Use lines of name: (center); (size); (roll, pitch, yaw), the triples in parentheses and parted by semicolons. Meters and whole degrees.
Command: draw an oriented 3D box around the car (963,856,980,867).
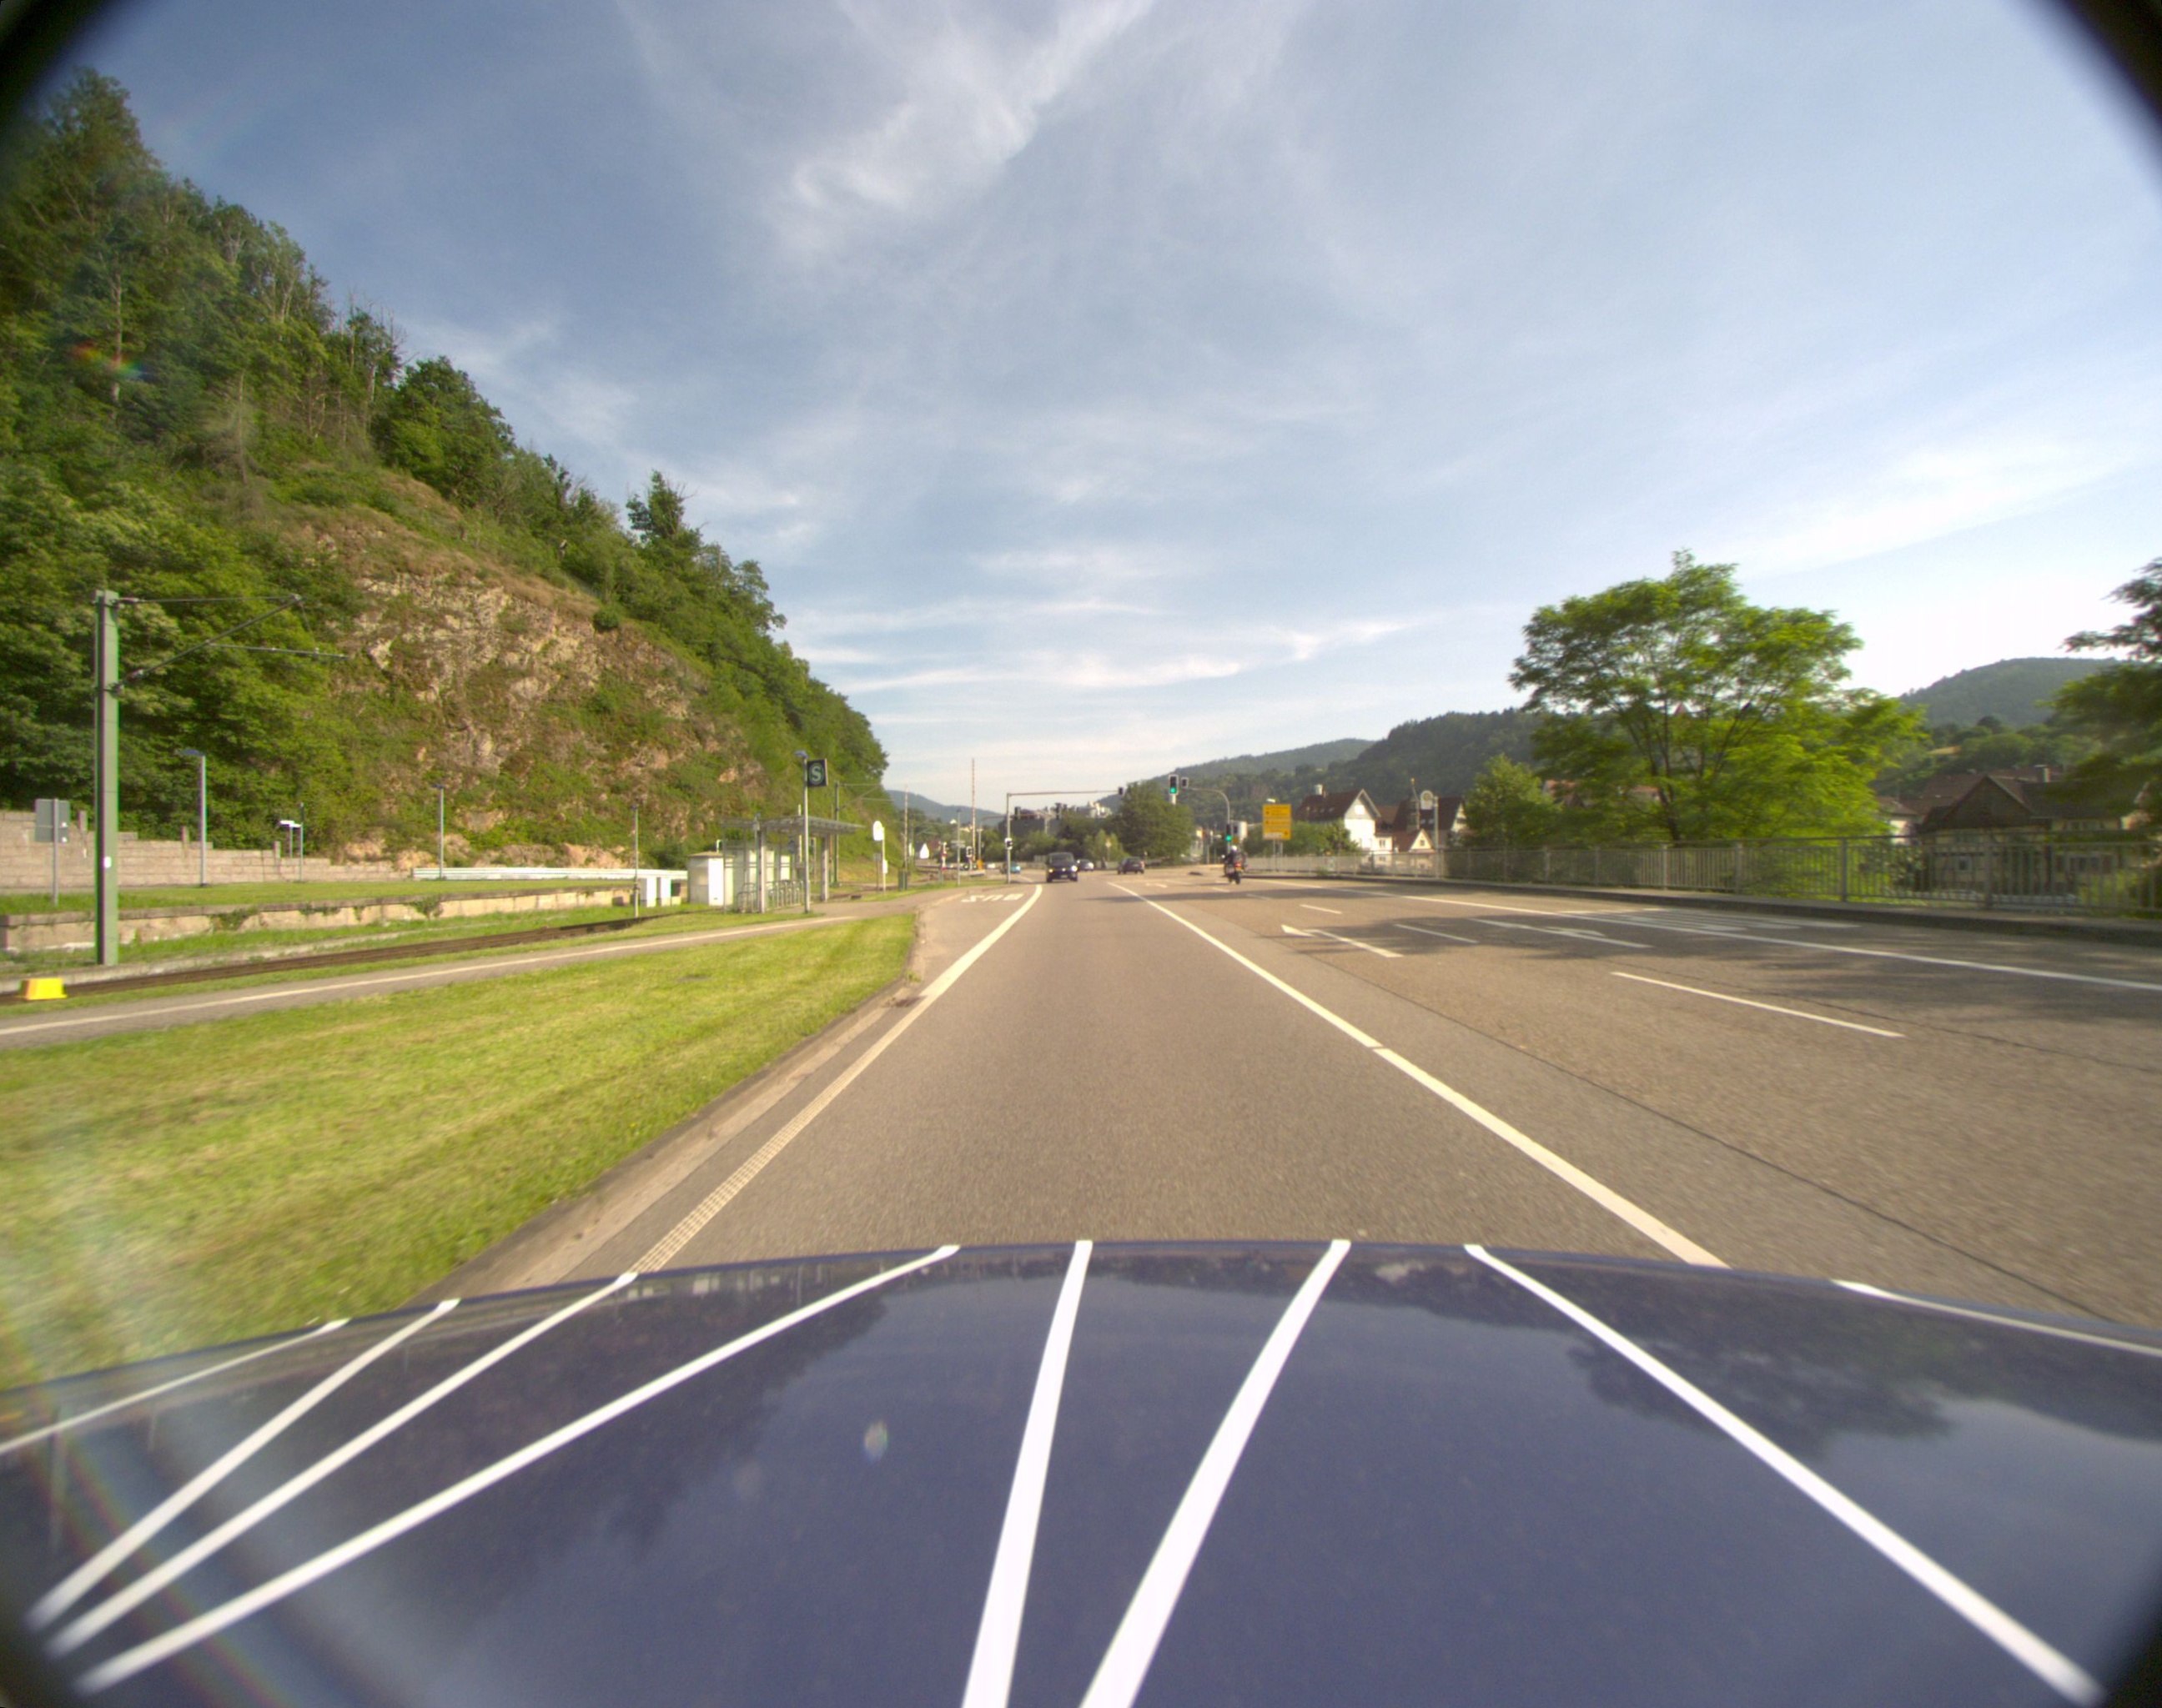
car: (-18.241, 1.183, 126.278); (2.002, 1.783, 3.993); (-1, 0, -20)

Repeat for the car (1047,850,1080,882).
car: (-1.184, 0.768, 50.224); (1.909, 1.868, 4.347); (-3, 0, -3)

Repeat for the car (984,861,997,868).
car: (-16.248, 1.839, 136.521); (1.652, 1.224, 4.088); (-1, 0, -18)

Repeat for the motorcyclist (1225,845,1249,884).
motorcyclist: (7.366, 0.488, 35.908); (0.847, 1.774, 1.171); (-2, 0, 0)

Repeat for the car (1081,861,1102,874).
car: (1.130, 1.456, 83.594); (1.776, 1.369, 4.642); (-3, 0, -5)

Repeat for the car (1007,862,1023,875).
car: (-8.043, 1.797, 92.434); (1.769, 1.452, 3.573); (1, 0, -8)

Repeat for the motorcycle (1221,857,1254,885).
motorcycle: (7.383, 0.776, 35.937); (0.975, 1.214, 2.572); (-2, 0, 0)

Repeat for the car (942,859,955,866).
car: (-25.709, 1.630, 147.198); (1.879, 1.452, 3.722); (0, 0, -20)

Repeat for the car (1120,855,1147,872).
car: (4.578, 0.808, 66.679); (1.790, 1.470, 4.752); (-1, 0, -3)
